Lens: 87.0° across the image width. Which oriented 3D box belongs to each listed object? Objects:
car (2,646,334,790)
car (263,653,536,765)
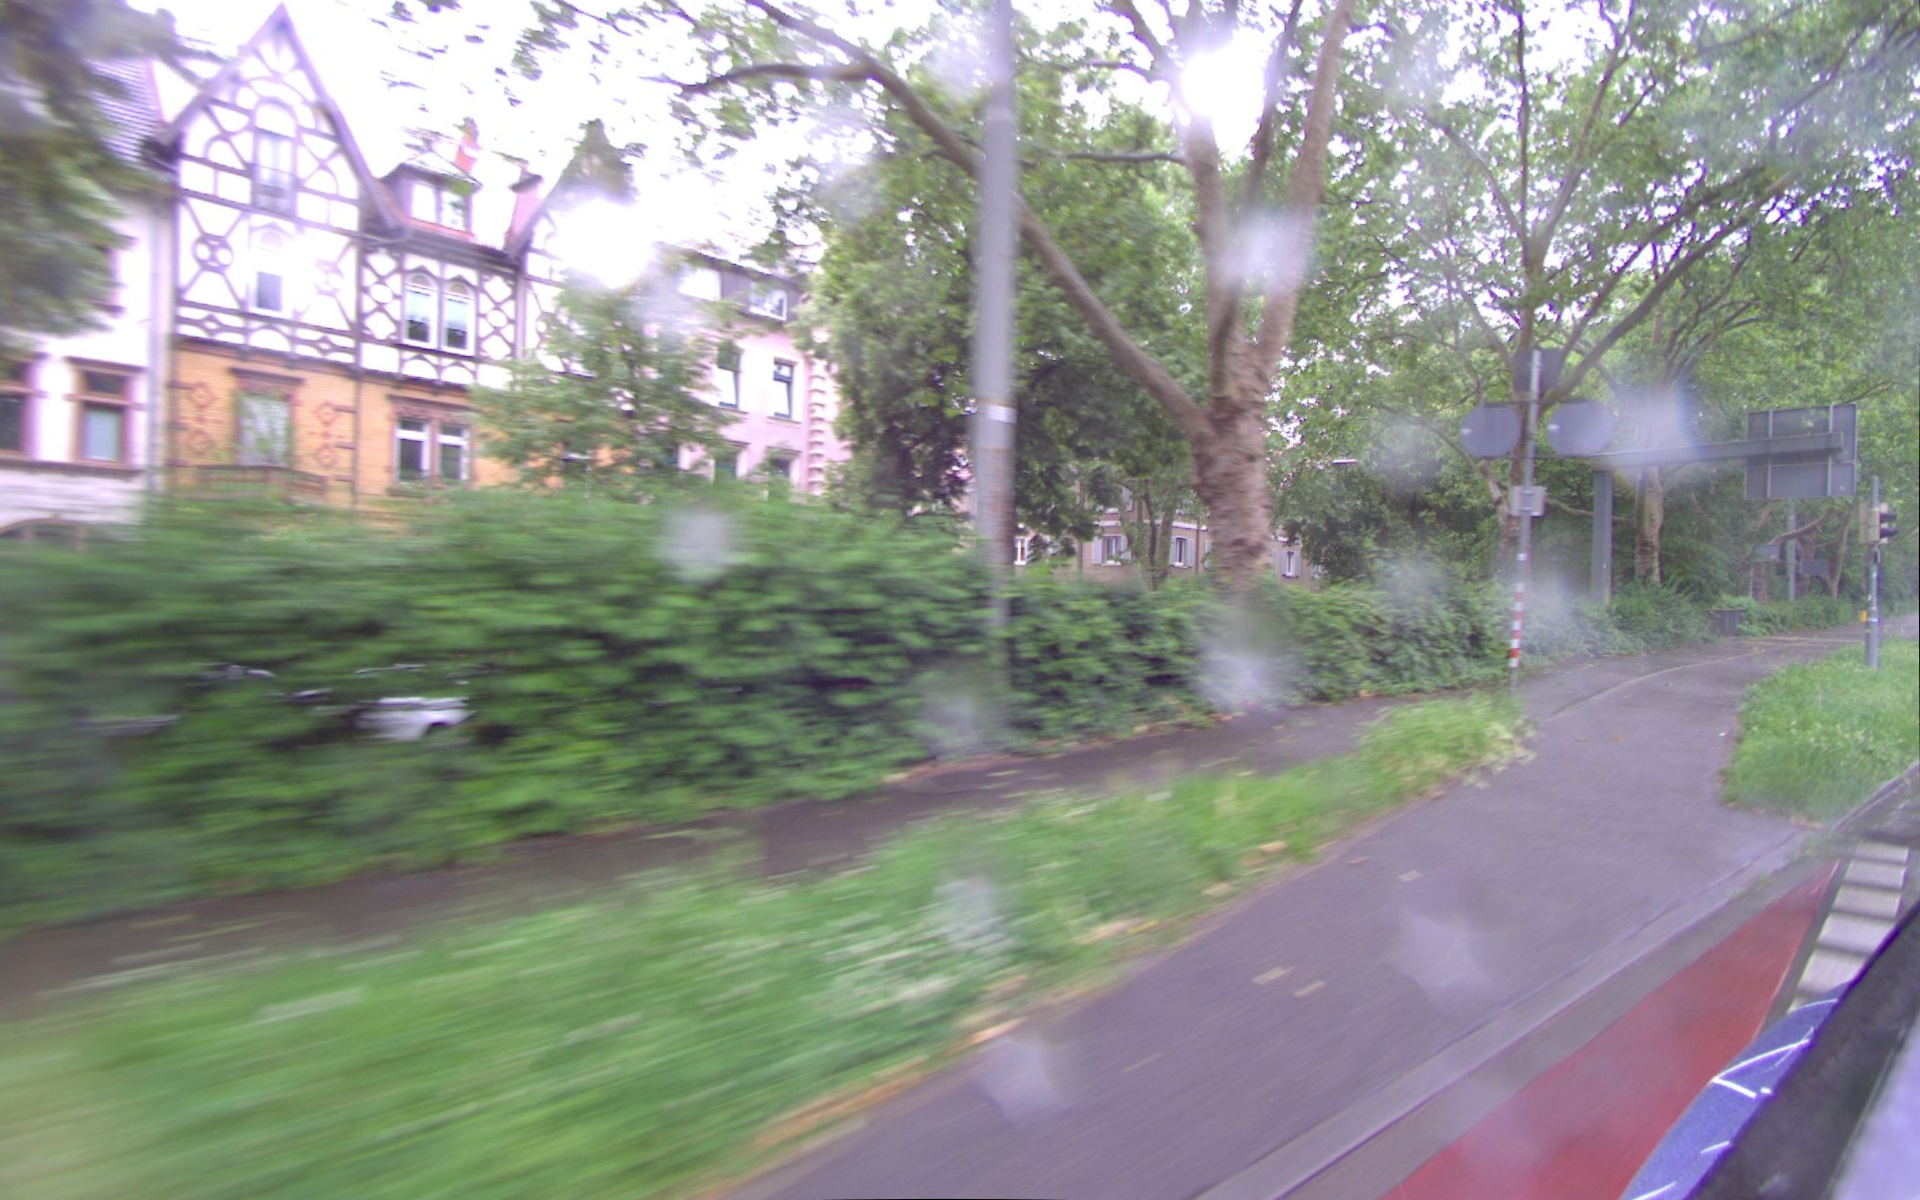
[{"bbox_3d":[-11.504,1.627,14.794,3.747,1.623,1.909,2,1,14],"label":"car"},{"bbox_3d":[-9.410,1.769,17.101,3.747,1.433,1.909,2,1,14],"label":"car"}]
